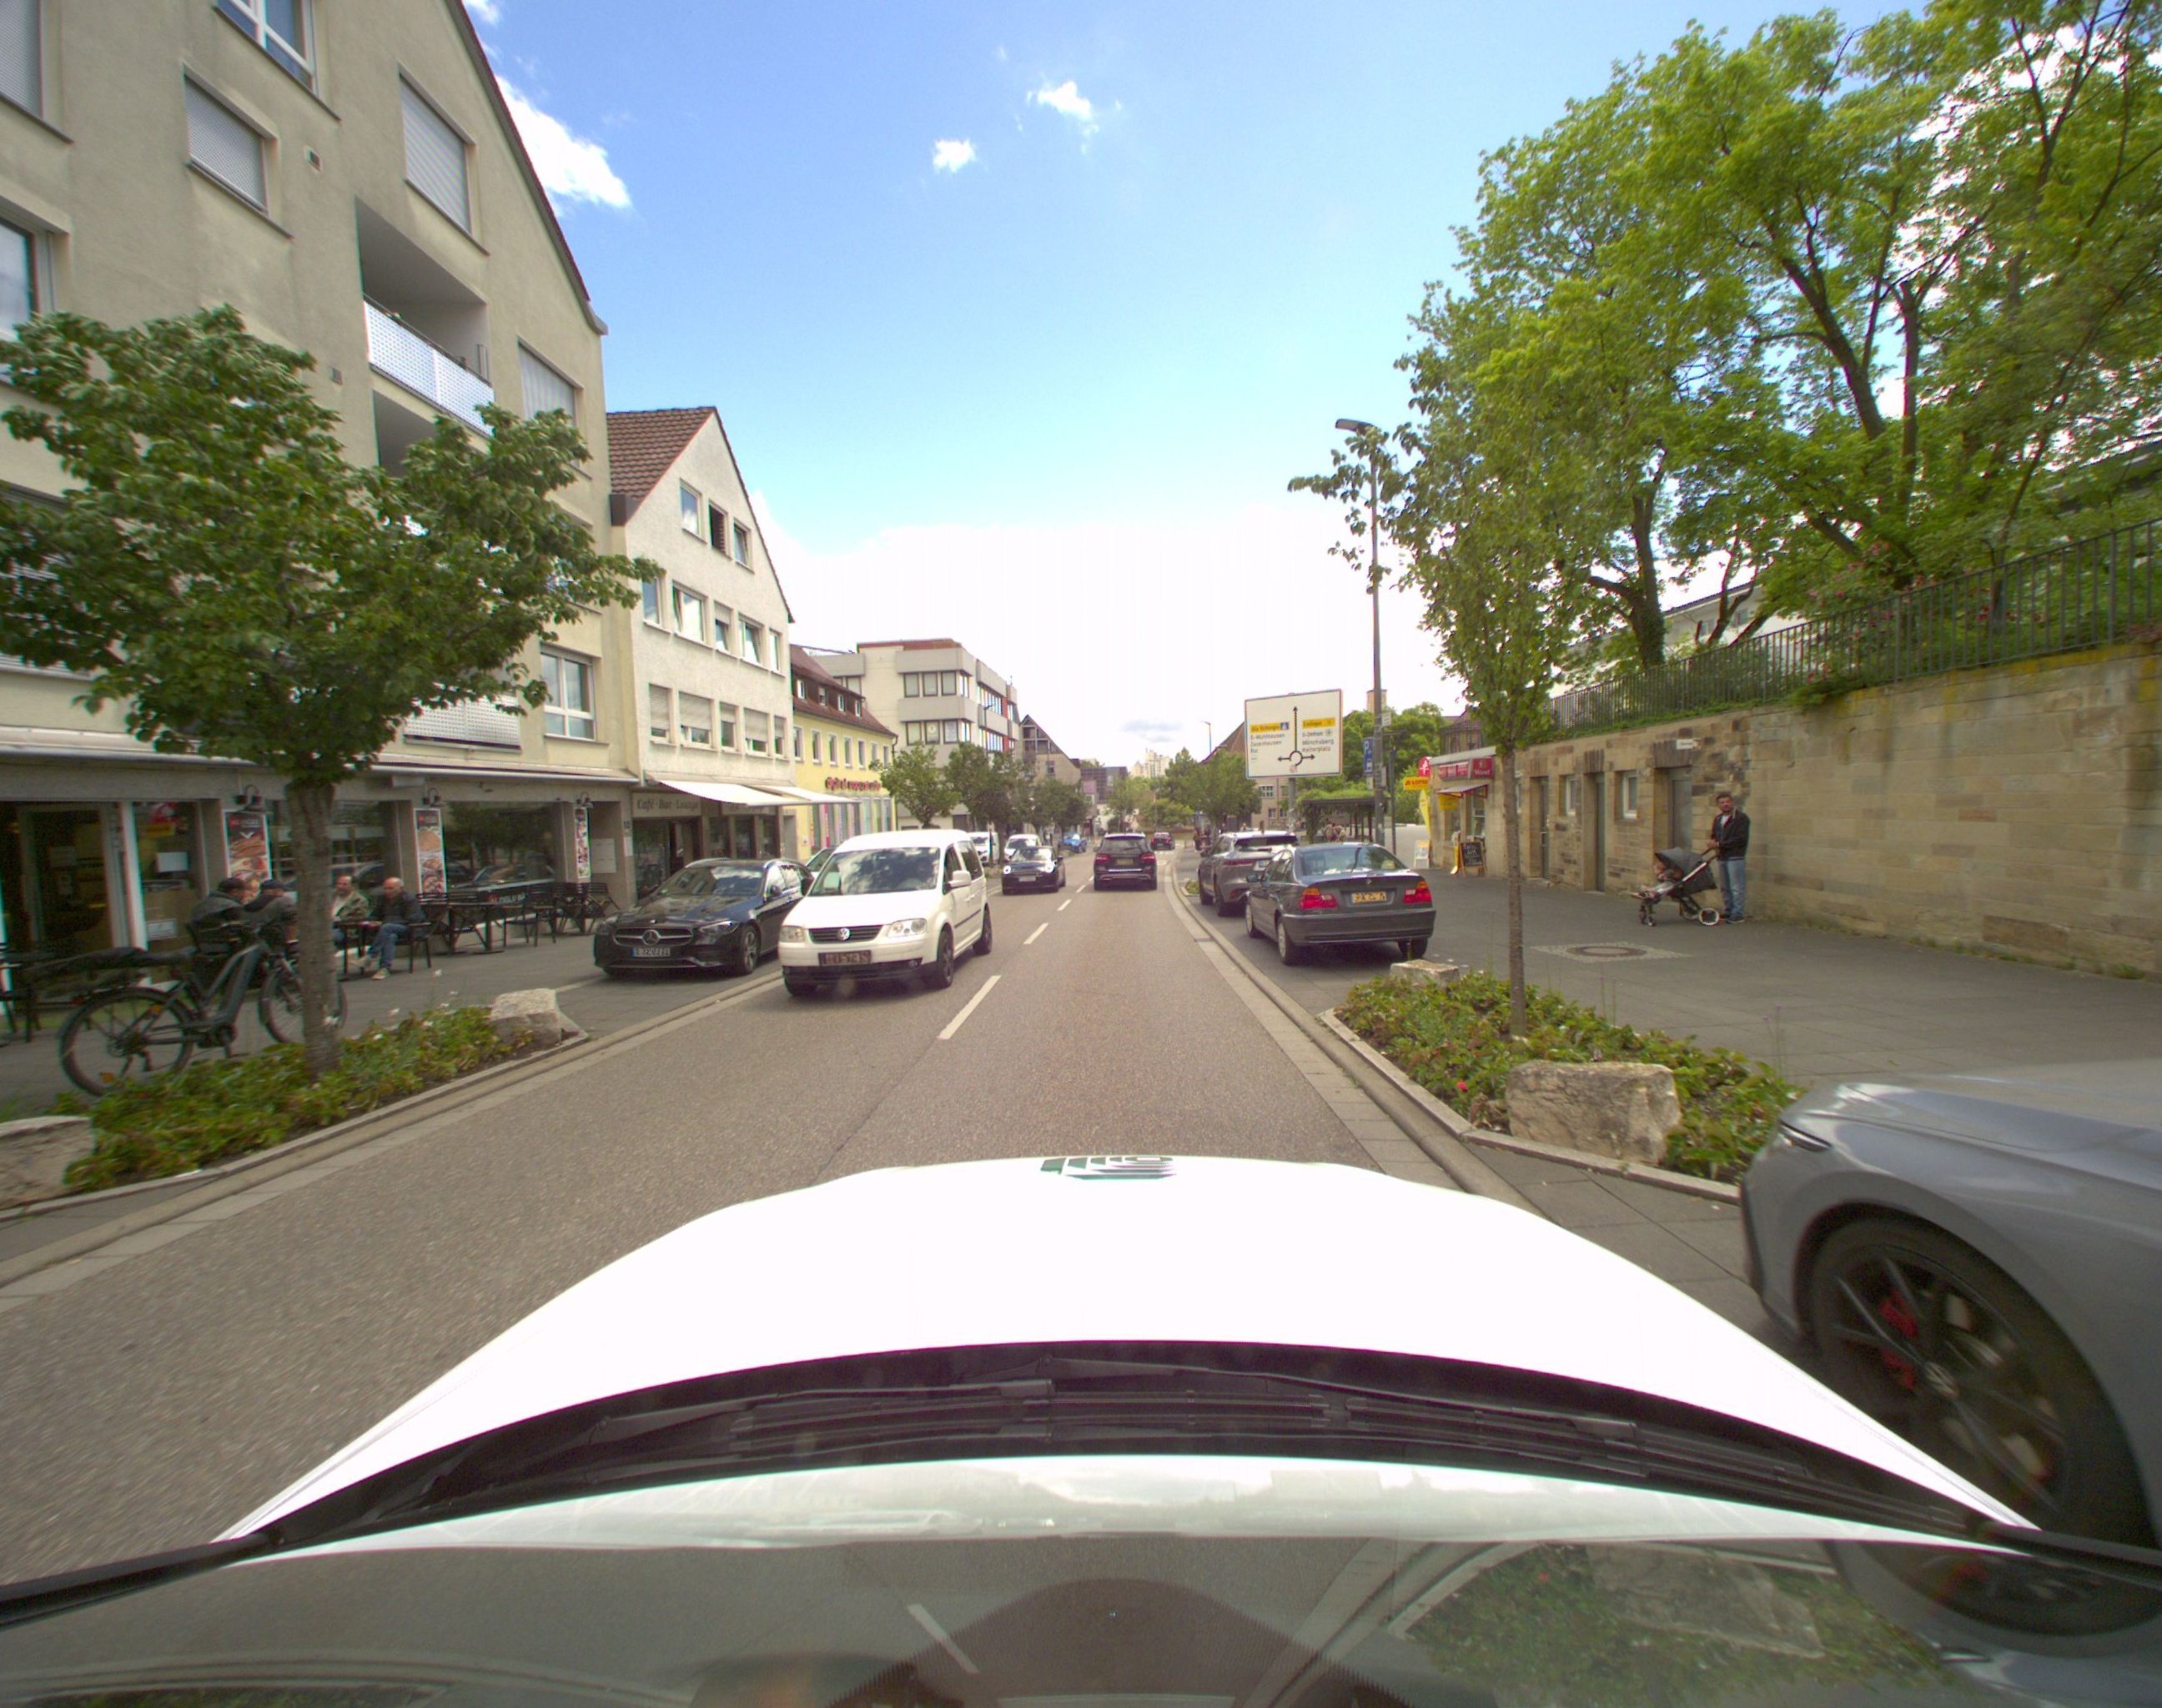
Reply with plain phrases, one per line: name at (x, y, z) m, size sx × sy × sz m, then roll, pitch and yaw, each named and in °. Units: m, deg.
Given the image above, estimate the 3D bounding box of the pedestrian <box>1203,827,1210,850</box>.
pedestrian at (8.743, -1.051, 56.563) m, size 0.391 × 1.565 × 0.353 m, roll -2°, pitch 1°, yaw 11°

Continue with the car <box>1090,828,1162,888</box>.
car at (1.335, 0.124, 26.024) m, size 2.021 × 1.727 × 4.432 m, roll -1°, pitch 0°, yaw 0°

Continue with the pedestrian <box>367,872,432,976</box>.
pedestrian at (-8.821, 0.895, 10.551) m, size 0.419 × 1.299 × 0.454 m, roll -1°, pitch 1°, yaw 1°

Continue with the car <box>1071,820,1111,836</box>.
car at (1.693, -4.291, 136.400) m, size 6.294 × 2.560 × 2.195 m, roll 0°, pitch -1°, yaw -15°

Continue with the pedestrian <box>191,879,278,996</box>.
pedestrian at (-9.511, 0.923, 9.162) m, size 0.393 × 1.249 × 0.500 m, roll -1°, pitch 1°, yaw 2°

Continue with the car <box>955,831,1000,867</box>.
car at (-5.562, -0.326, 44.413) m, size 1.750 × 1.813 × 4.479 m, roll 0°, pitch 2°, yaw 2°

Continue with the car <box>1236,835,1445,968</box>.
car at (3.265, 0.536, 11.152) m, size 1.674 × 1.417 × 4.375 m, roll -2°, pitch 0°, yaw 4°

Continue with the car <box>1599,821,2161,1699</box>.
car at (2.652, 0.653, 0.707) m, size 1.749 × 1.441 × 4.088 m, roll -3°, pitch 0°, yaw 0°

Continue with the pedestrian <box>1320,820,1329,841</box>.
pedestrian at (15.797, -1.547, 52.819) m, size 0.563 × 1.323 × 0.548 m, roll -1°, pitch 2°, yaw 16°

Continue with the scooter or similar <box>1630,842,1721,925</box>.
scooter or similar at (8.088, 0.389, 11.106) m, size 0.806 × 1.072 × 0.562 m, roll -3°, pitch 0°, yaw 13°

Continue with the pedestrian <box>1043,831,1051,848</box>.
pedestrian at (-3.144, -1.347, 75.058) m, size 0.583 × 1.588 × 0.640 m, roll 0°, pitch 2°, yaw 8°

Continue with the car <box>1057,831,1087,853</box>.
car at (-0.664, -0.973, 64.764) m, size 1.684 × 1.599 × 4.344 m, roll 1°, pitch 2°, yaw 9°

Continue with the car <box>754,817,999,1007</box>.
car at (-2.261, 0.565, 10.257) m, size 1.739 × 1.802 × 4.215 m, roll -4°, pitch 0°, yaw 3°

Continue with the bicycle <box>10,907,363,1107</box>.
bicycle at (-6.454, 1.025, 6.066) m, size 0.482 × 1.107 × 1.908 m, roll -1°, pitch 0°, yaw 1°

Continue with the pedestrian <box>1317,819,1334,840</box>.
pedestrian at (14.736, -1.481, 49.079) m, size 0.761 × 1.269 × 0.680 m, roll 1°, pitch 2°, yaw 43°

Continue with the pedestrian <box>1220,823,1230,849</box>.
pedestrian at (9.546, -1.214, 54.051) m, size 0.508 × 1.680 × 0.577 m, roll -3°, pitch 1°, yaw 7°

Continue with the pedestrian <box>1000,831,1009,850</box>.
pedestrian at (-6.353, -1.108, 67.745) m, size 0.585 × 1.566 × 0.642 m, roll -3°, pitch 2°, yaw -13°

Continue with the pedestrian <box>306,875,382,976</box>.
pedestrian at (-9.613, 0.915, 10.632) m, size 0.425 × 1.249 × 0.567 m, roll -1°, pitch 1°, yaw 2°

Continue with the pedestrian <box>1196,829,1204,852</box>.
pedestrian at (8.273, -0.962, 56.603) m, size 0.497 × 1.565 × 0.499 m, roll -3°, pitch 1°, yaw 9°

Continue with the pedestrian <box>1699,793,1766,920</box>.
pedestrian at (8.713, 0.038, 10.912) m, size 0.469 × 1.645 × 0.508 m, roll -3°, pitch 0°, yaw 13°

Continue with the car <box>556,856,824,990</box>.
car at (-5.187, 0.792, 11.592) m, size 1.835 × 1.451 × 4.510 m, roll 0°, pitch 0°, yaw -3°

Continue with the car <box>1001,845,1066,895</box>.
car at (-1.436, 0.453, 25.762) m, size 1.600 × 1.388 × 3.632 m, roll -3°, pitch 1°, yaw 3°

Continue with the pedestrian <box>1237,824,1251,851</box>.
pedestrian at (10.202, -1.027, 50.955) m, size 0.679 × 1.682 × 0.718 m, roll -2°, pitch 1°, yaw 17°

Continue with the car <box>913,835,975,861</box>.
car at (-8.698, -0.381, 51.803) m, size 3.616 × 1.558 × 1.668 m, roll -1°, pitch 1°, yaw 0°

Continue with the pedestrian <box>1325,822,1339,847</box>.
pedestrian at (13.875, -1.088, 44.996) m, size 0.620 × 1.307 × 0.548 m, roll -3°, pitch 2°, yaw 11°

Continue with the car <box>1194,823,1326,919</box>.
car at (3.645, 0.263, 17.425) m, size 1.921 × 1.724 × 4.577 m, roll -2°, pitch 1°, yaw 2°

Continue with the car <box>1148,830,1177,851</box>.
car at (6.733, -1.164, 66.889) m, size 2.040 × 1.588 × 4.385 m, roll 1°, pitch 2°, yaw 9°

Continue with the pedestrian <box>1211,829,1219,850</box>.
pedestrian at (8.905, -0.966, 54.124) m, size 0.387 × 1.306 × 0.356 m, roll -4°, pitch 1°, yaw 8°

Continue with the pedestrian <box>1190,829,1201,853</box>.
pedestrian at (7.599, -0.891, 54.216) m, size 0.508 × 1.549 × 0.490 m, roll -2°, pitch 2°, yaw 33°

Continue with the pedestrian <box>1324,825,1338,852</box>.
pedestrian at (12.367, -0.765, 40.349) m, size 0.564 × 1.261 × 0.543 m, roll -2°, pitch 4°, yaw 11°

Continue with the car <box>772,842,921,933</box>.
car at (-4.731, 0.583, 17.076) m, size 1.658 × 1.646 × 4.139 m, roll 0°, pitch 1°, yaw 4°

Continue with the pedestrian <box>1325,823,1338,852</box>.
pedestrian at (12.187, -0.807, 39.658) m, size 0.495 × 1.320 × 0.527 m, roll -2°, pitch 4°, yaw 11°

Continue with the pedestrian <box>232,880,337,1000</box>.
pedestrian at (-8.911, 0.940, 9.127) m, size 0.548 × 1.267 × 0.599 m, roll -1°, pitch 0°, yaw 1°

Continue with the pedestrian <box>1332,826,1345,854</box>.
pedestrian at (12.327, -0.680, 38.982) m, size 0.492 × 1.320 × 0.577 m, roll -2°, pitch 4°, yaw 10°

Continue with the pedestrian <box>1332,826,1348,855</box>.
pedestrian at (12.185, -0.645, 38.357) m, size 0.612 × 1.320 × 0.587 m, roll -2°, pitch 4°, yaw 10°

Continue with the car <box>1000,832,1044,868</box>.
car at (-2.924, -0.252, 41.362) m, size 1.649 × 1.671 × 4.355 m, roll 0°, pitch 2°, yaw 3°
